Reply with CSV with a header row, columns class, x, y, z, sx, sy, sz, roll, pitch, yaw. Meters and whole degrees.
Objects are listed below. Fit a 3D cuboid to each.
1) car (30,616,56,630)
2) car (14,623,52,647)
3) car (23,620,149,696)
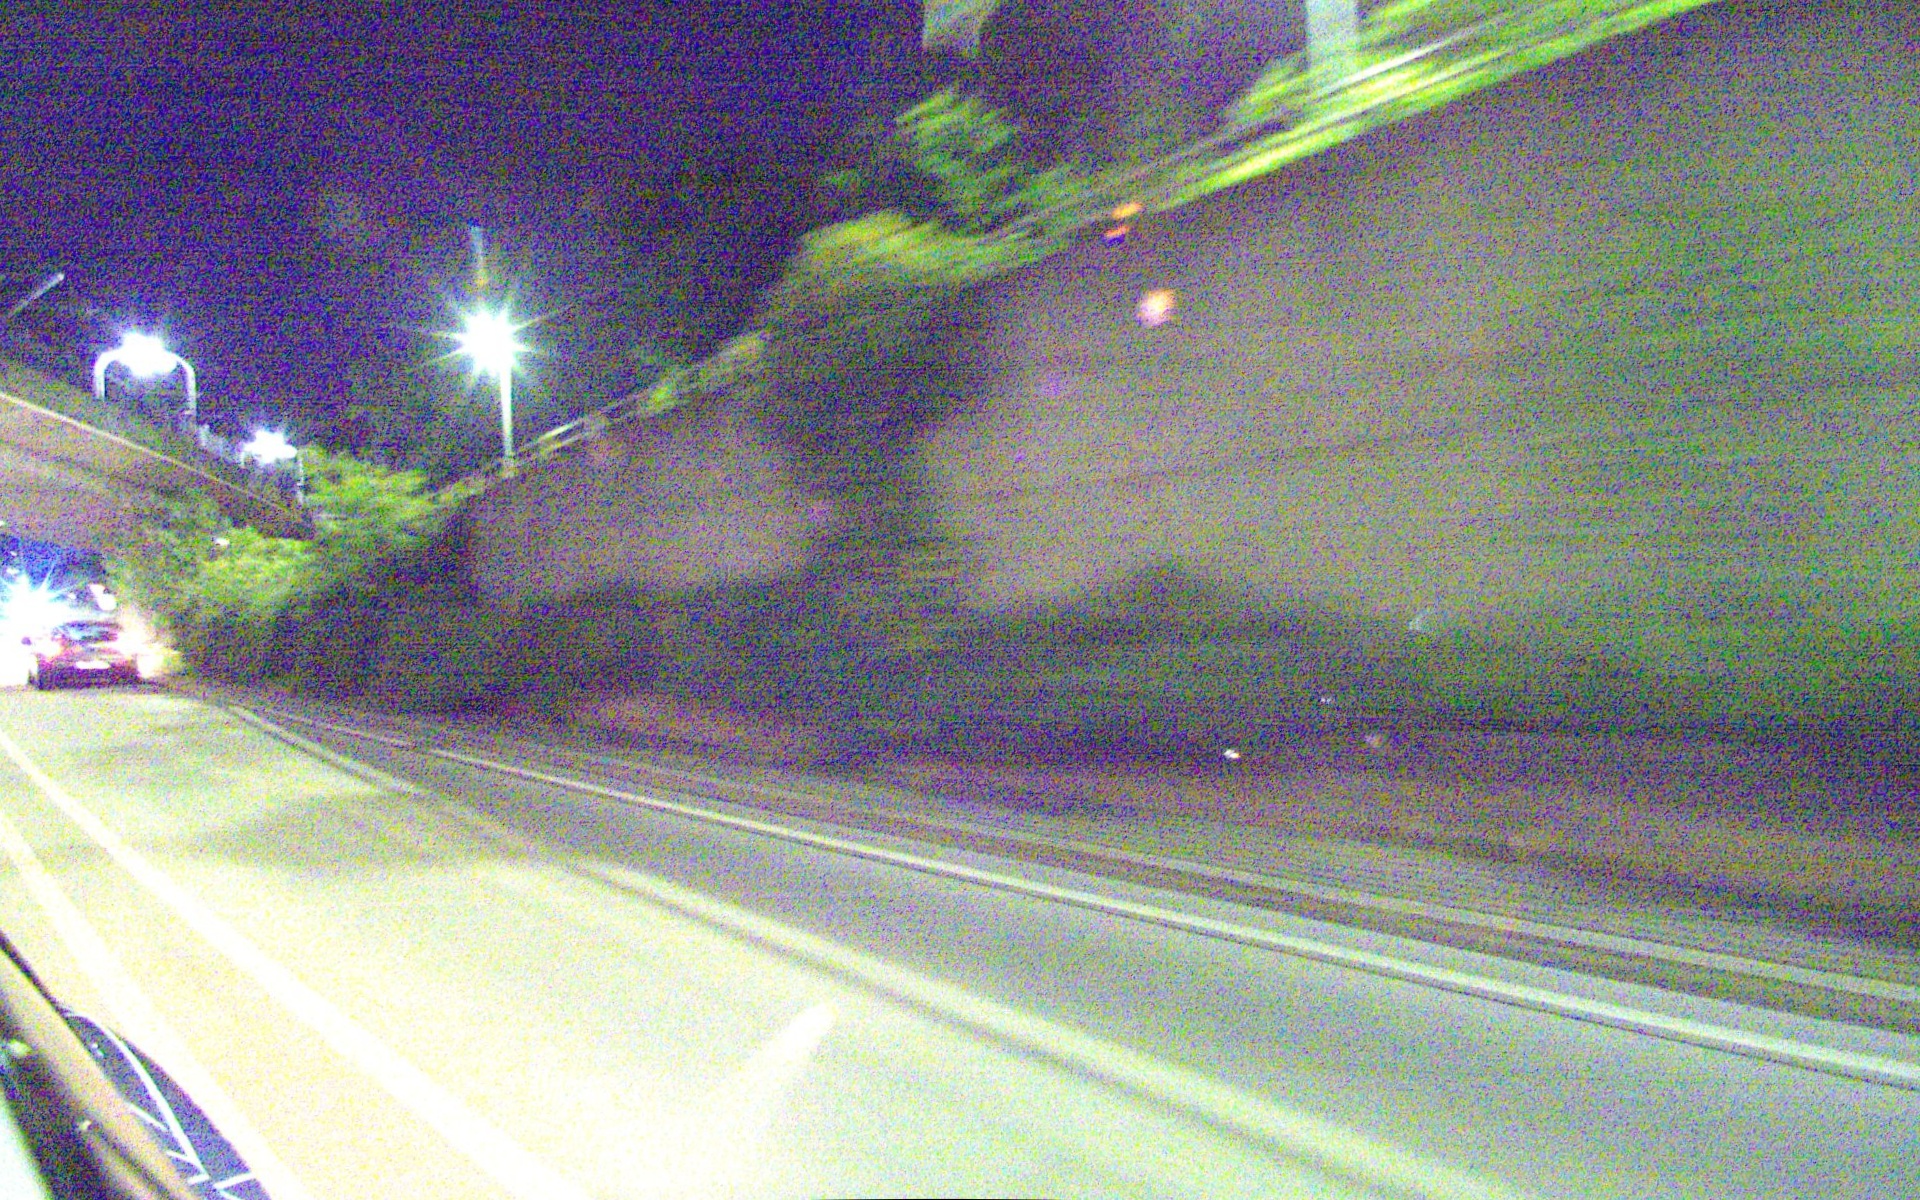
class,x,y,z,sx,sy,sz,roll,pitch,yaw
car,-108.611,2.684,119.878,1.857,1.566,4.227,-1,0,-37
car,-64.492,2.426,70.382,1.767,1.458,4.175,-2,1,-44
car,-19.680,1.224,22.736,4.002,1.521,1.837,-1,-1,45
